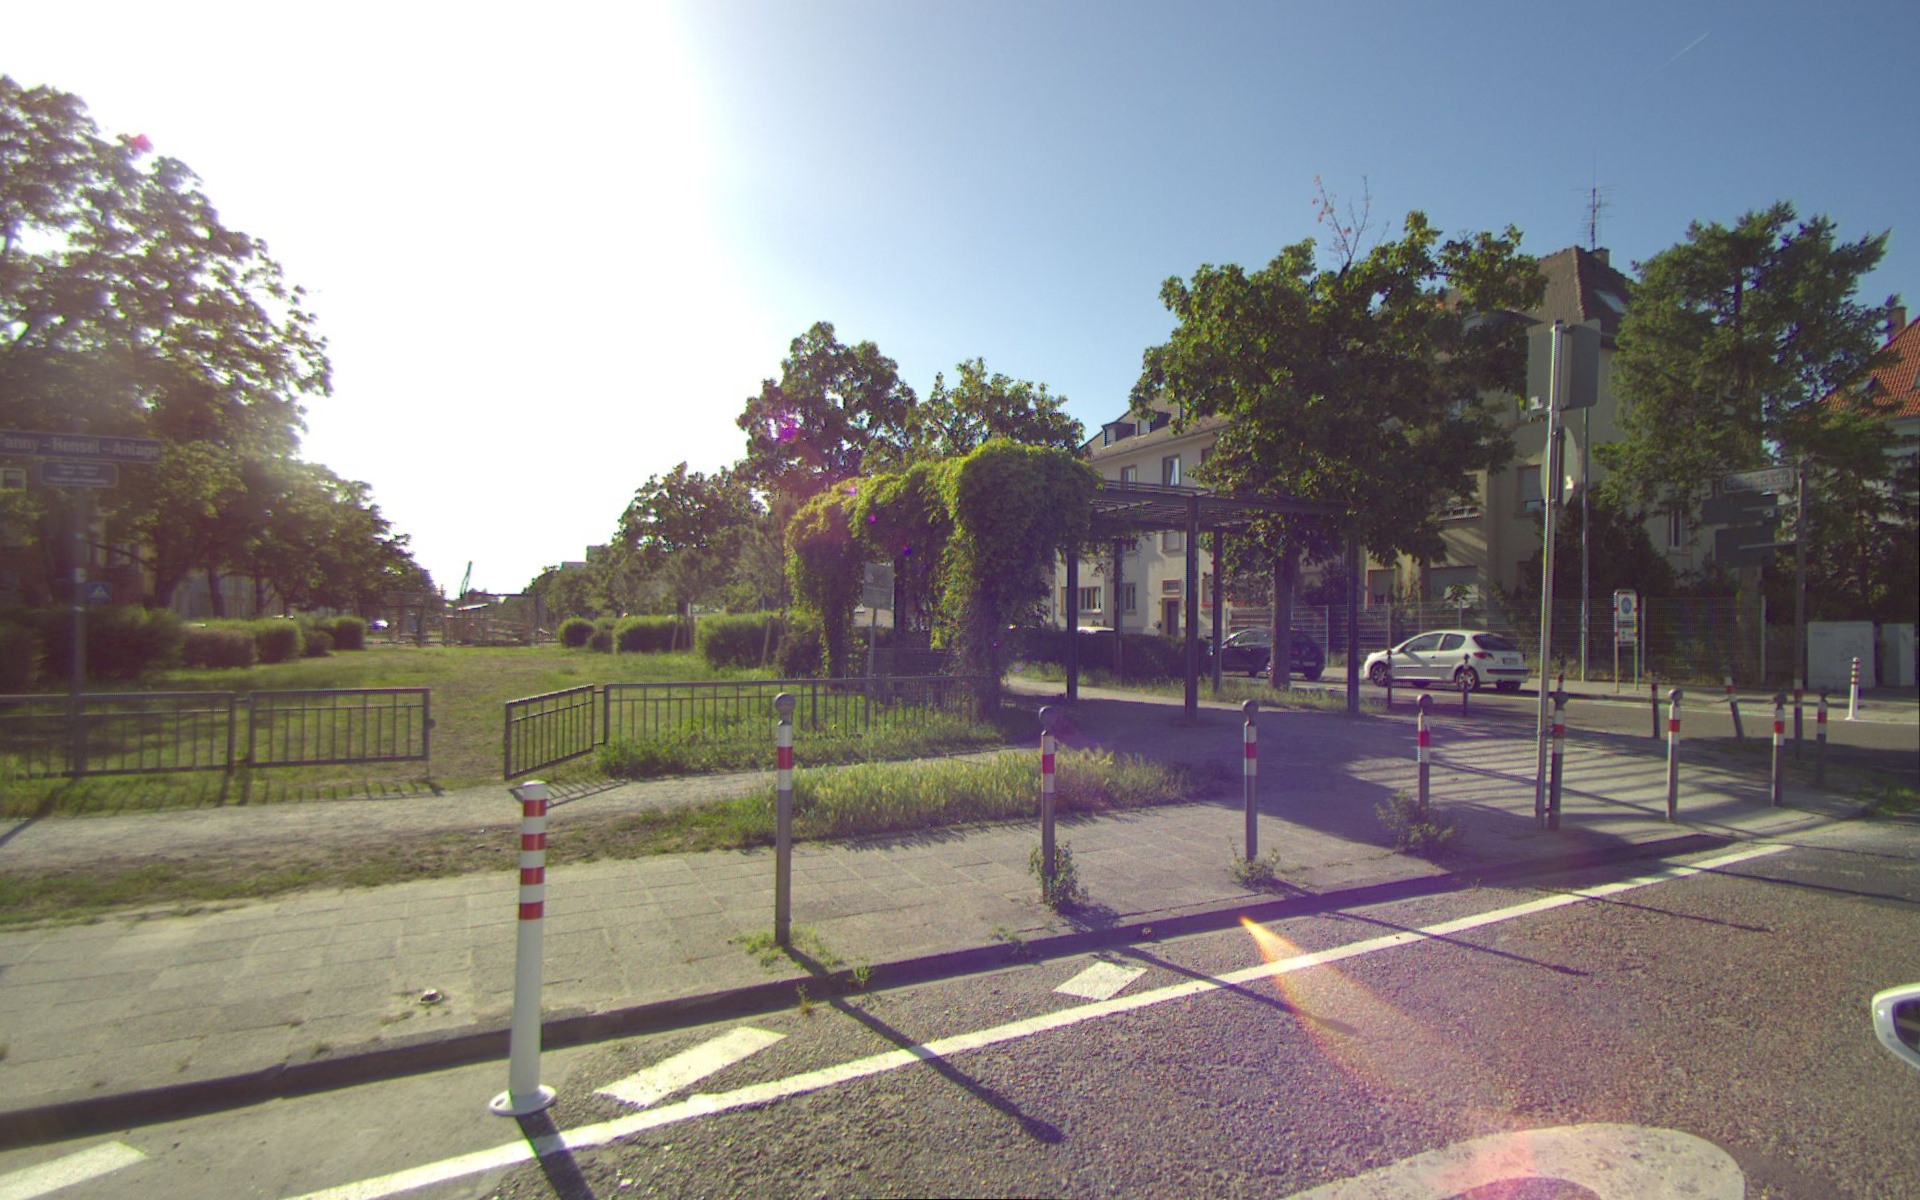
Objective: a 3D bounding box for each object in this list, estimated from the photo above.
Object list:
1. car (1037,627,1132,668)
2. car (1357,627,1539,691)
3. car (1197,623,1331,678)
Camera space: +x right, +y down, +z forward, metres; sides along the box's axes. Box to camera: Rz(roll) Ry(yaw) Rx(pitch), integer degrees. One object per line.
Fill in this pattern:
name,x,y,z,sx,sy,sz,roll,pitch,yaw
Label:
car,4.743,1.807,38.823,1.778,1.514,3.974,2,-2,-26
car,11.735,1.389,24.393,1.685,1.416,3.751,2,-2,-26
car,8.910,1.459,29.704,1.655,1.514,3.801,2,-2,-26
